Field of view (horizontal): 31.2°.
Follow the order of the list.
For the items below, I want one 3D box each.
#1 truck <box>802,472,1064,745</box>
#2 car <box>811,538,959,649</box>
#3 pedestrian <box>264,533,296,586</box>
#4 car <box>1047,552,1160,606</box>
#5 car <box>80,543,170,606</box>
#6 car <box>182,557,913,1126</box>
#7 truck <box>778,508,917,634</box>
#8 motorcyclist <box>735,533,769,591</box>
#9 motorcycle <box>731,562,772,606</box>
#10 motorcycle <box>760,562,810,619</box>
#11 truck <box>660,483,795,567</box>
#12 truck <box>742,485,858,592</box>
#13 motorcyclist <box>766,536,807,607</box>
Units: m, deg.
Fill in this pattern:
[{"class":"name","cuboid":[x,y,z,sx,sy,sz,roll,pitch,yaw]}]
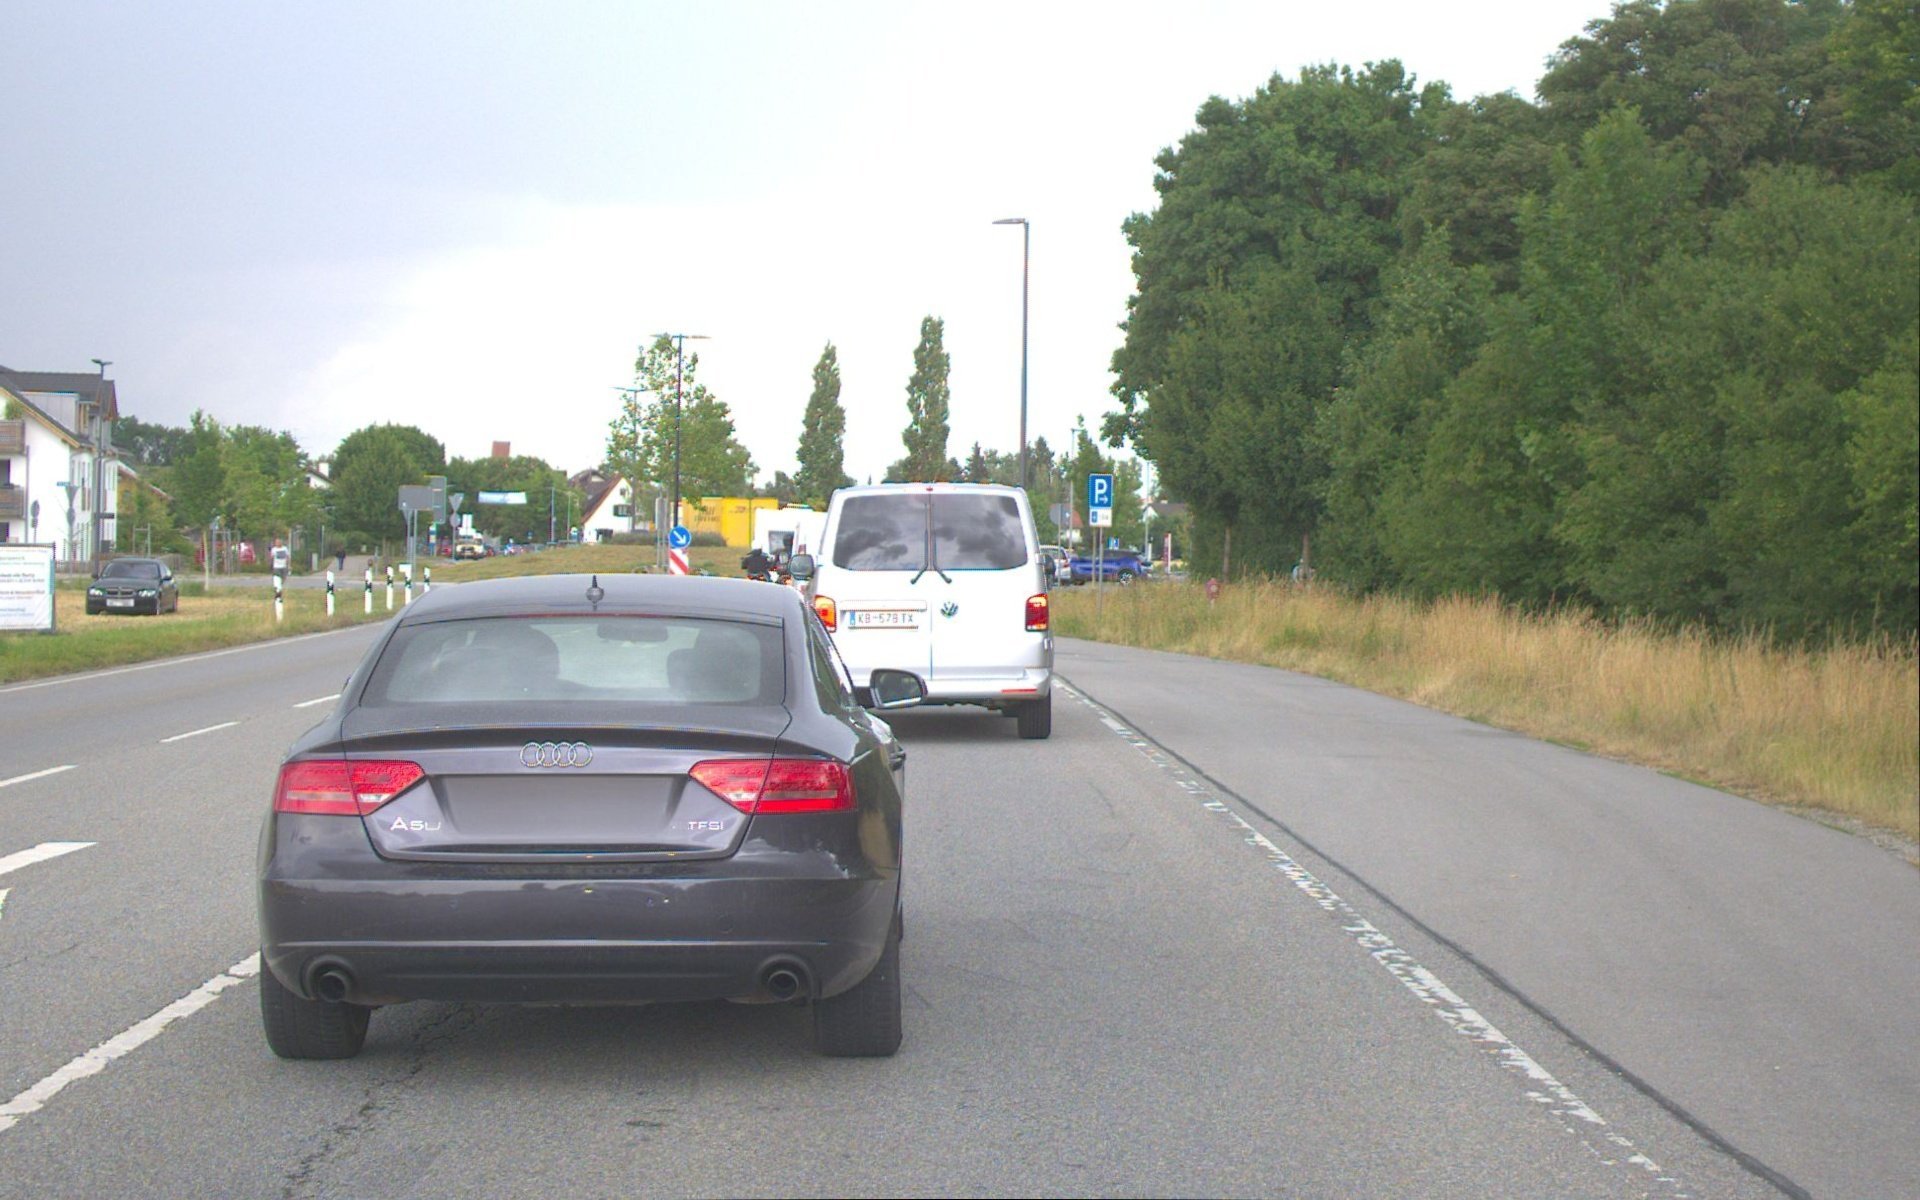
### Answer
[{"class":"truck","cuboid":[-0.218,0.020,27.634,1.904,1.991,4.629,1,1,0]},{"class":"car","cuboid":[-1.063,-0.118,48.648,1.993,1.480,4.000,1,1,-1]},{"class":"pedestrian","cuboid":[-20.393,-1.214,103.047,0.701,1.580,0.657,1,1,16]},{"class":"car","cuboid":[5.697,-0.839,136.346,3.991,2.007,1.998,2,1,20]},{"class":"car","cuboid":[-20.682,-0.647,85.229,1.993,1.437,4.001,1,2,-11]},{"class":"car","cuboid":[-1.101,0.597,10.940,1.875,1.449,4.177,0,1,-1]},{"class":"truck","cuboid":[-1.852,-0.502,58.183,2.193,2.007,5.085,1,1,0]},{"class":"motorcyclist","cuboid":[-4.959,-0.904,81.898,0.785,1.352,0.854,1,1,-3]},{"class":"motorcycle","cuboid":[-4.971,-0.391,81.970,0.944,1.016,2.284,1,1,-3]},{"class":"motorcycle","cuboid":[-3.470,-0.192,68.283,0.920,1.090,2.189,1,1,-1]},{"class":"truck","cuboid":[-10.558,-3.404,154.939,3.575,3.566,9.960,1,1,-19]},{"class":"truck","cuboid":[-4.396,-1.659,93.252,2.626,2.728,5.868,1,1,-7]},{"class":"motorcyclist","cuboid":[-3.442,-0.566,68.286,0.772,1.379,0.820,1,1,-1]}]
